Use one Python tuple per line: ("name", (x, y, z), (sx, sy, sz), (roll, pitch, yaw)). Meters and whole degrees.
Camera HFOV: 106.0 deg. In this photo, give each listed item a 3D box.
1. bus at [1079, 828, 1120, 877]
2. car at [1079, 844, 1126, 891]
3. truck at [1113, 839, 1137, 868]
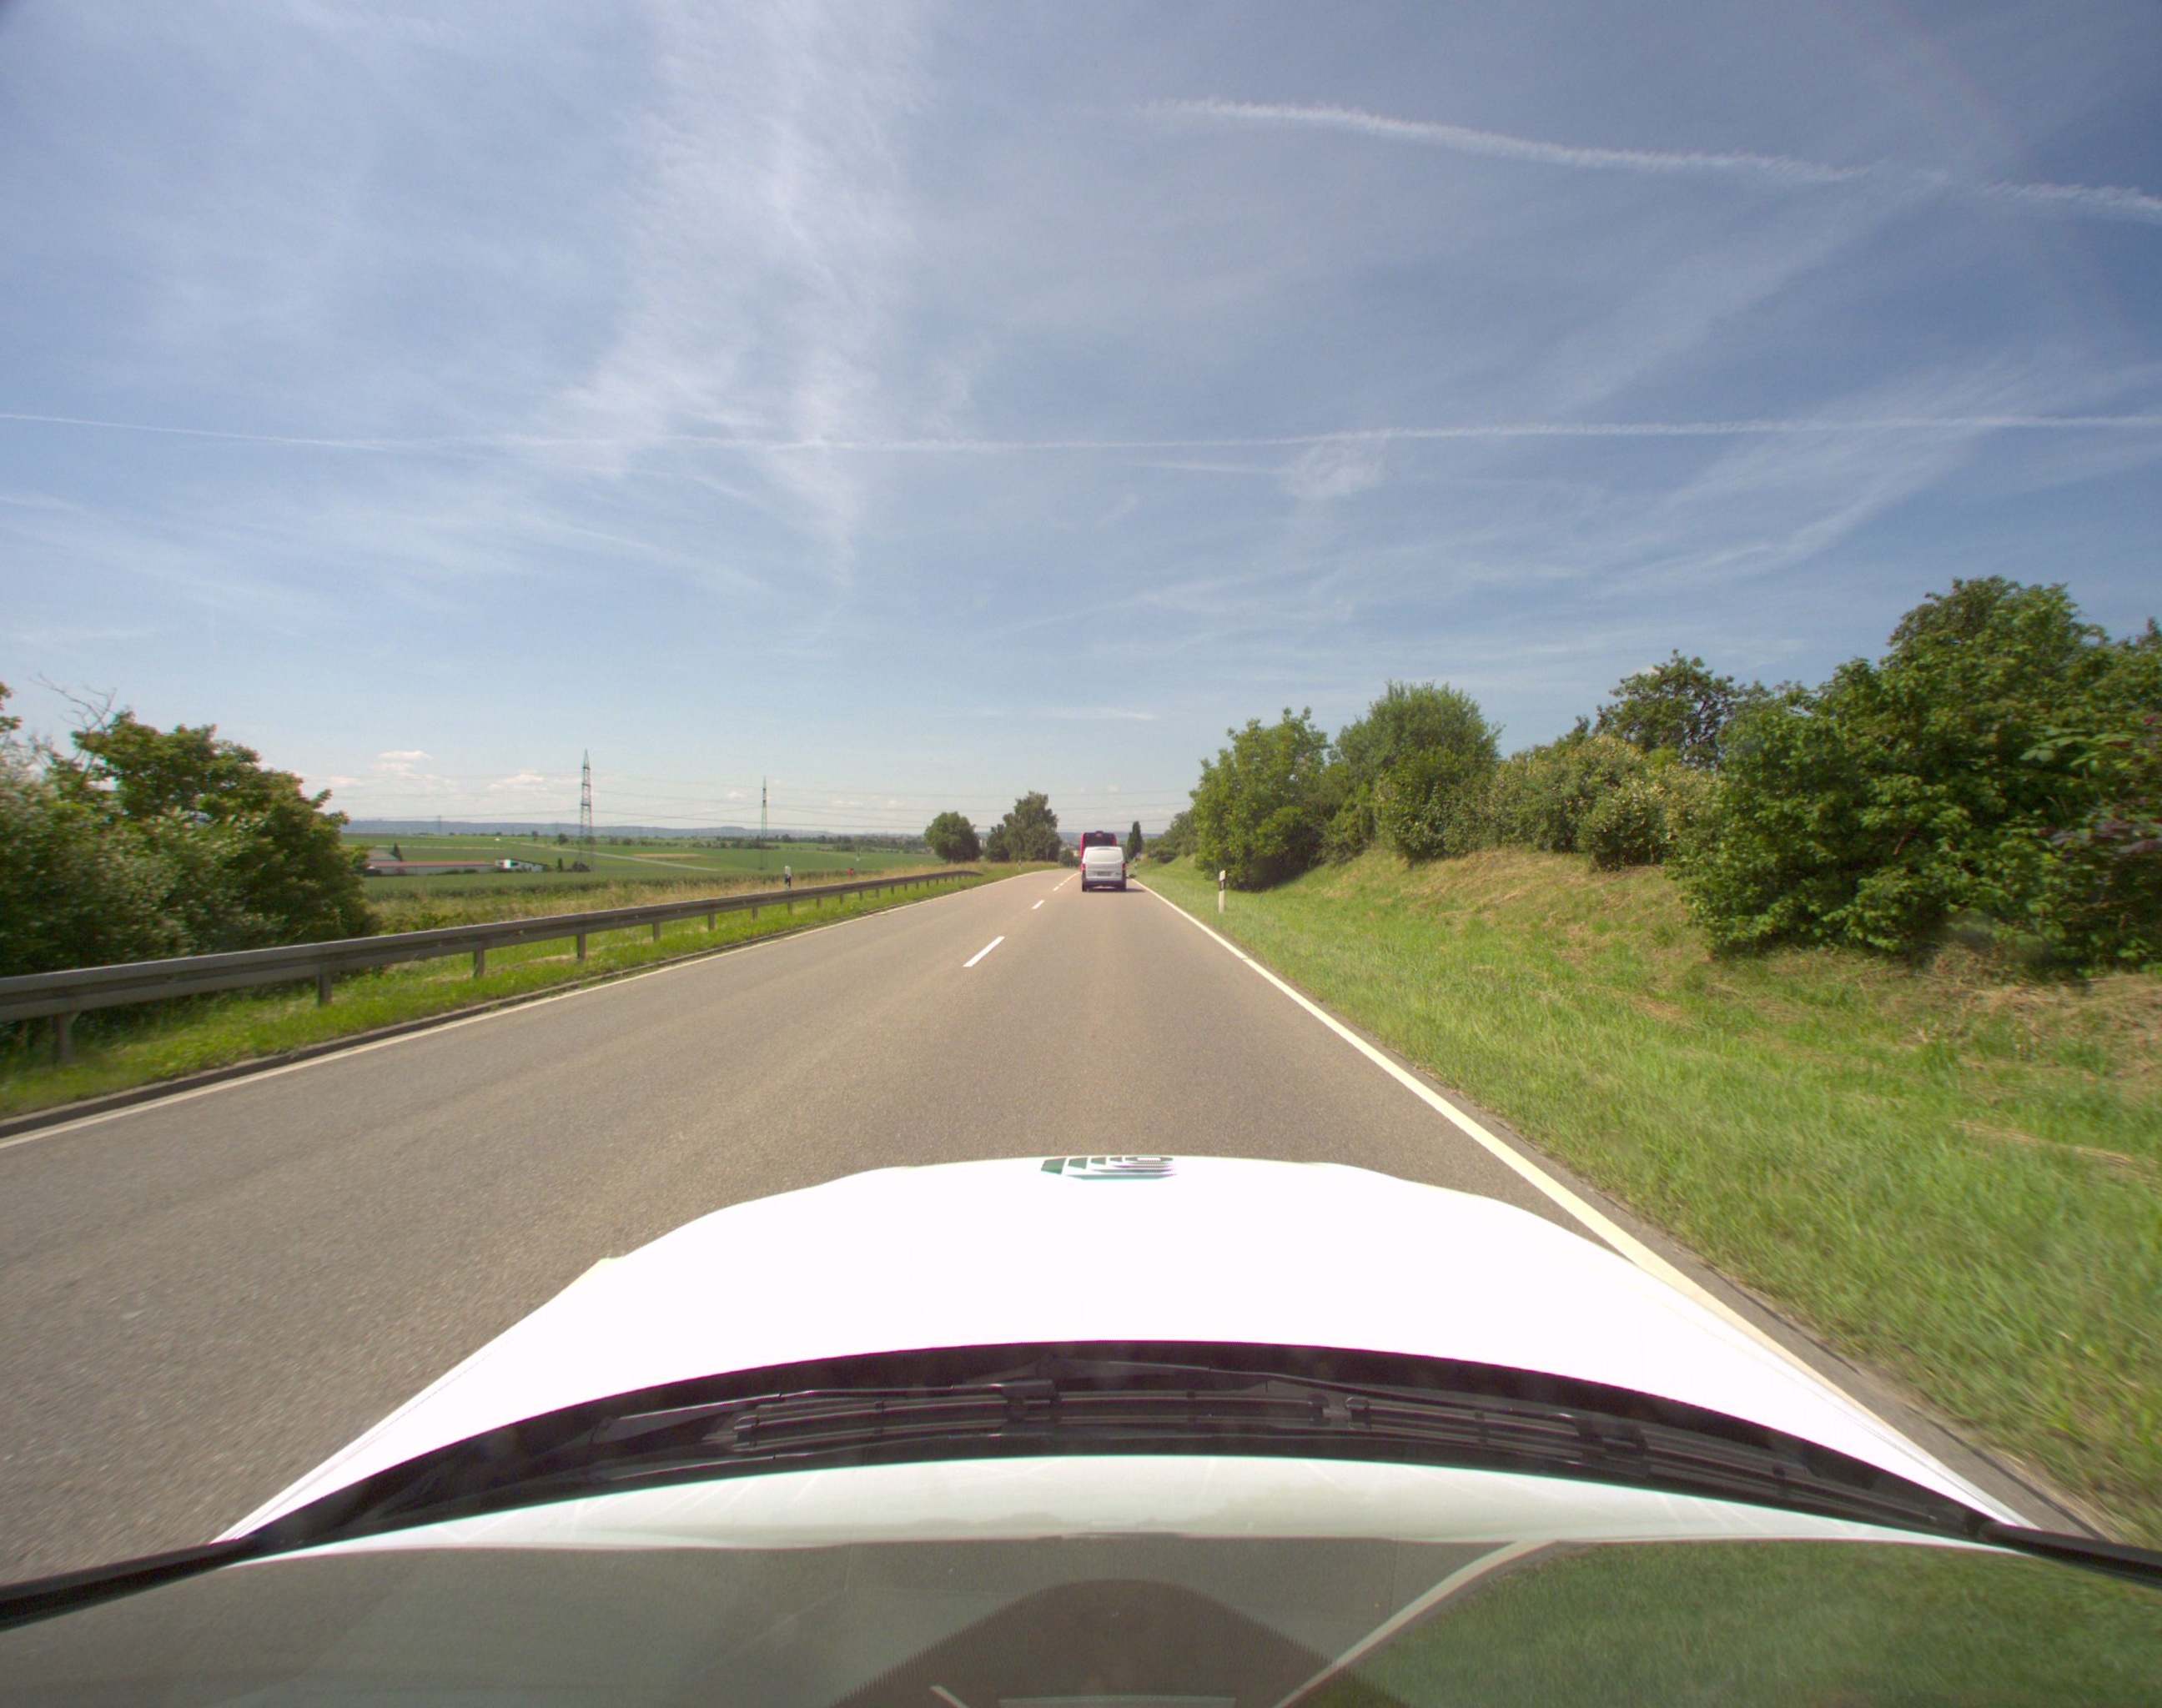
("bus", (1.356, -0.223, 63.395), (2.738, 3.353, 13.223), (-1, 1, 1))
("car", (0.965, 0.515, 35.260), (1.916, 1.889, 4.002), (0, 1, 2))
("truck", (6.905, -0.029, 129.476), (3.475, 4.423, 14.909), (0, -1, 2))
